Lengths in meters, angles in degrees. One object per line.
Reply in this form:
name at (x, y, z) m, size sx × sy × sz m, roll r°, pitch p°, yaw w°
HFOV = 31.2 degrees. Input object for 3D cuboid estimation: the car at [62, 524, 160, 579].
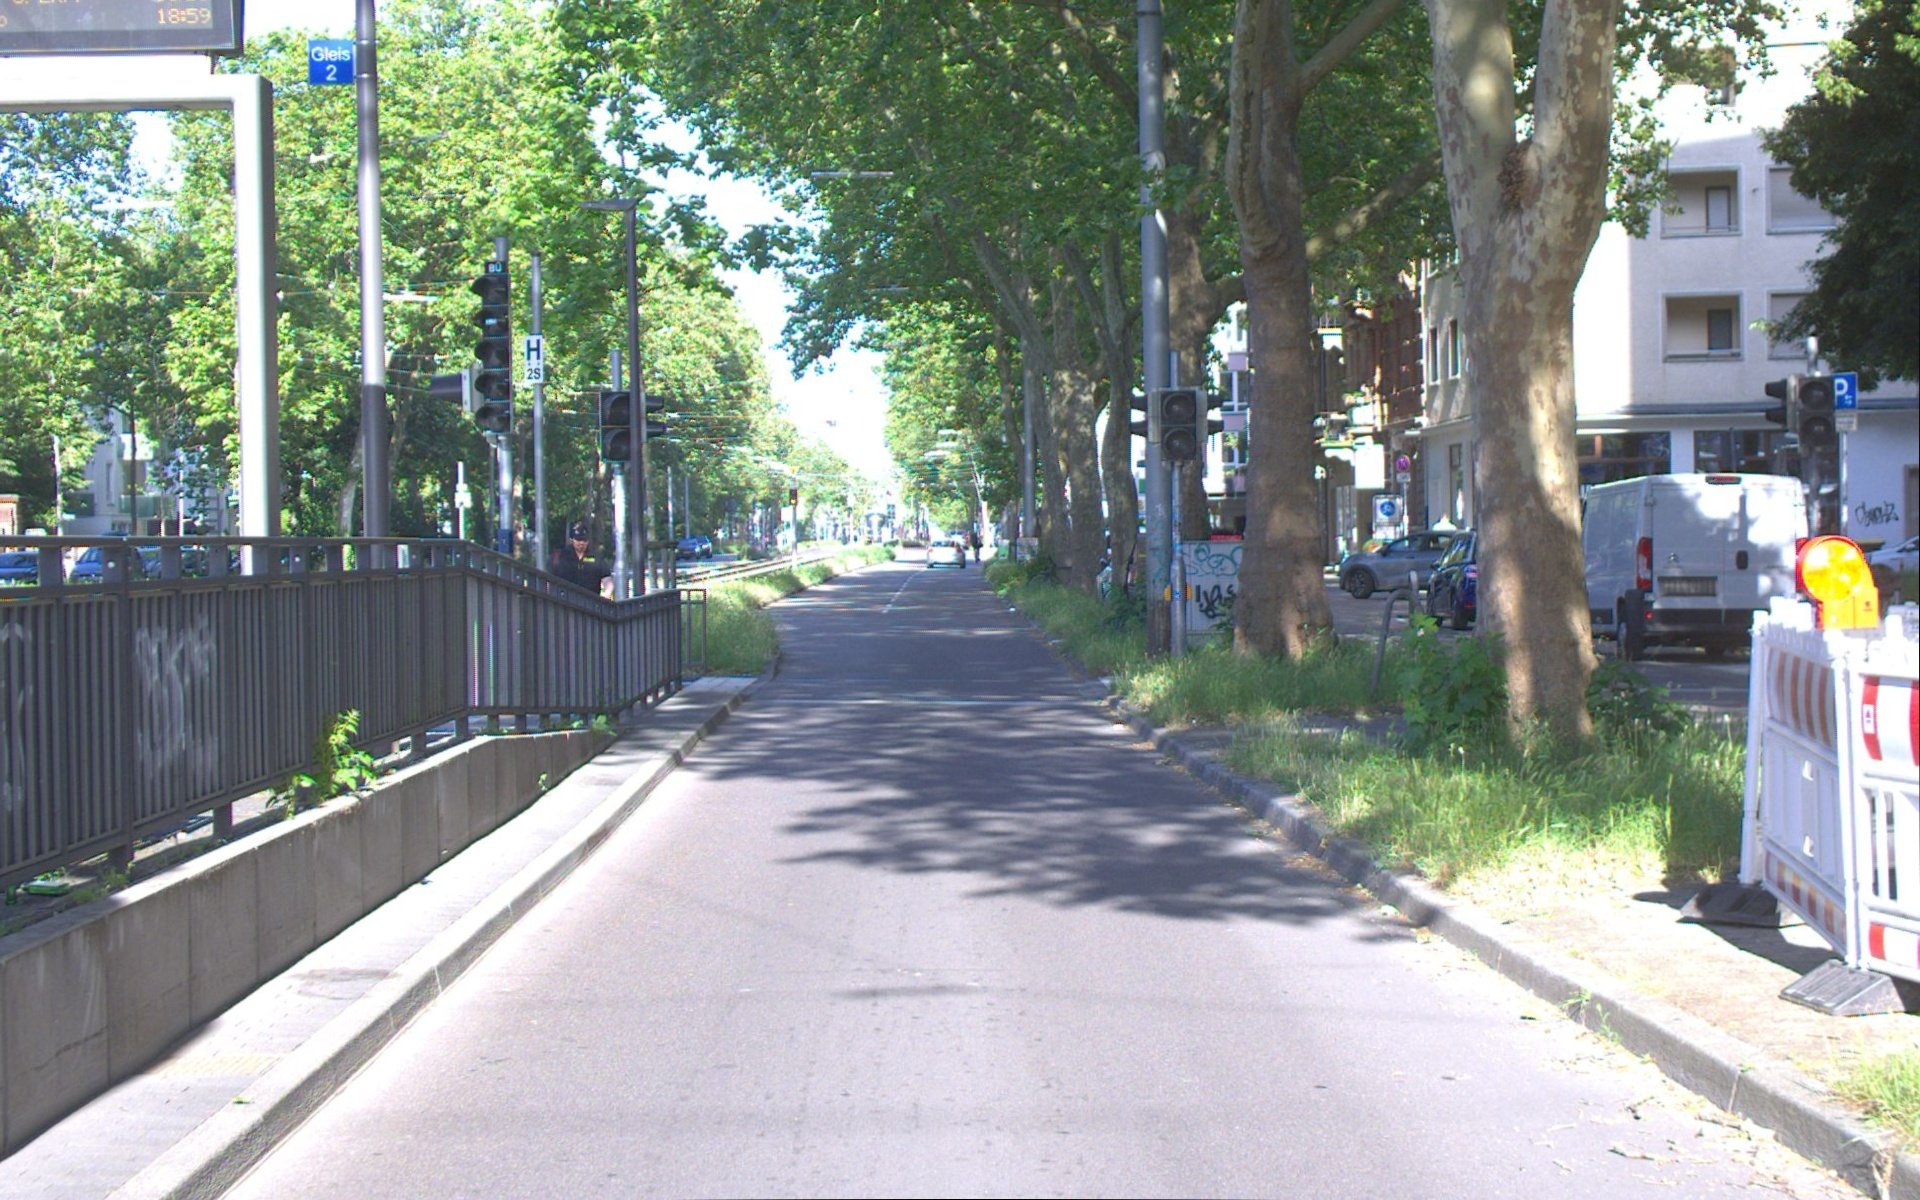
car at (-27.418, -1.587, 111.161) m, size 1.768 × 1.713 × 4.420 m, roll -1°, pitch 2°, yaw 4°

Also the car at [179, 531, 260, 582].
car at (-27.483, -1.639, 127.652) m, size 2.108 × 1.802 × 4.739 m, roll -1°, pitch 2°, yaw -2°

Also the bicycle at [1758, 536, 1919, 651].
bicycle at (9.979, -0.083, 38.944) m, size 1.603 × 1.259 × 0.963 m, roll -1°, pitch 1°, yaw -5°

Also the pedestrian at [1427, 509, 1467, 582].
pedestrian at (11.368, -1.272, 80.241) m, size 0.795 × 1.698 × 0.724 m, roll -1°, pitch 1°, yaw 0°

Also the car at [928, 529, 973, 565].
car at (-0.460, -2.490, 161.833) m, size 2.021 × 1.656 × 4.000 m, roll 0°, pitch 1°, yaw -1°

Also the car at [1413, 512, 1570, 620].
car at (8.941, -0.607, 58.248) m, size 1.819 × 1.736 × 5.168 m, roll -1°, pitch 1°, yaw 0°

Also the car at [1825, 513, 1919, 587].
car at (21.354, -1.110, 75.379) m, size 4.589 × 1.575 × 1.999 m, roll 0°, pitch 1°, yaw 15°

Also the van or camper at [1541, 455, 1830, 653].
van or camper at (8.888, -0.589, 42.706) m, size 2.291 × 2.279 × 5.823 m, roll 0°, pitch 1°, yaw -1°

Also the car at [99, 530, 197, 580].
car at (-27.520, -1.547, 116.657) m, size 1.994 × 1.610 × 4.420 m, roll -1°, pitch 2°, yaw 4°

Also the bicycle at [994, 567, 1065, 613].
bicycle at (1.621, -0.233, 79.950) m, size 1.594 × 1.055 × 0.404 m, roll -1°, pitch 1°, yaw 7°

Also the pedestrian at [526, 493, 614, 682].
pedestrian at (-3.494, -0.120, 30.821) m, size 0.712 × 1.674 × 0.772 m, roll 0°, pitch 1°, yaw -2°

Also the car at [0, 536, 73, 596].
car at (-27.521, -0.997, 100.268) m, size 1.993 × 1.644 × 4.827 m, roll -1°, pitch 2°, yaw 0°

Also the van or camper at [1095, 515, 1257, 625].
van or camper at (3.201, -0.463, 51.358) m, size 1.500 × 1.582 × 2.841 m, roll -1°, pitch 1°, yaw -17°
